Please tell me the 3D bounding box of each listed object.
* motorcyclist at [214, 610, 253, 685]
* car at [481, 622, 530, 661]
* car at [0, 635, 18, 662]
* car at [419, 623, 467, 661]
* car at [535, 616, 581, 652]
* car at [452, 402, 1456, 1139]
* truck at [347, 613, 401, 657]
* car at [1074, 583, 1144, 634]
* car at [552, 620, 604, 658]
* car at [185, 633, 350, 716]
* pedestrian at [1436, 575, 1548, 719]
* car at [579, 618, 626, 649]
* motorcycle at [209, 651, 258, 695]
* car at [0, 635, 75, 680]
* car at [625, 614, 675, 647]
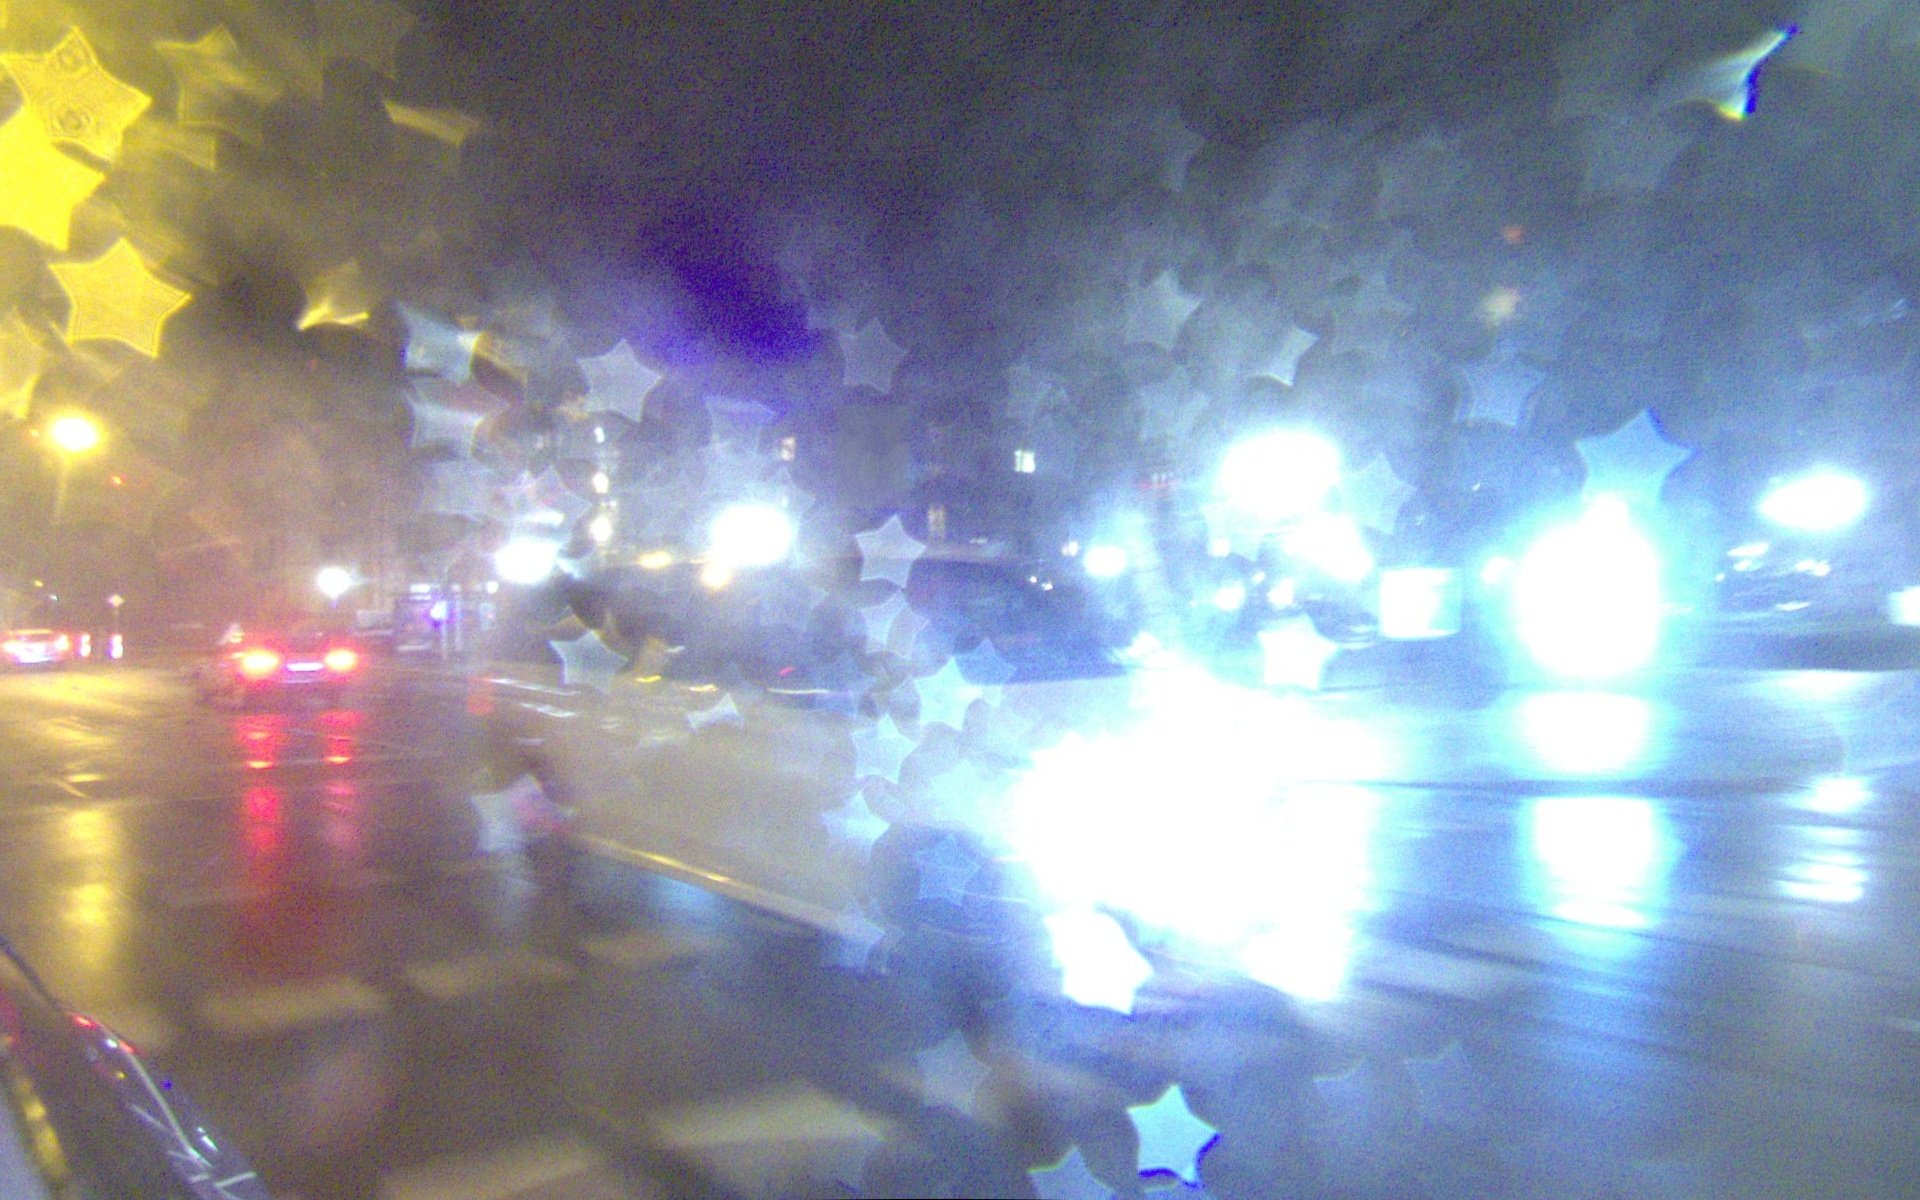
[{"bbox_3d":[-20.179,1.320,28.089,0.982,2.029,0.685,-3,-2,42],"label":"motorcyclist"},{"bbox_3d":[-19.387,1.744,43.094,1.689,1.532,3.931,-1,-1,-27],"label":"car"},{"bbox_3d":[-58.123,2.892,61.124,4.381,1.576,1.580,-2,-4,45],"label":"car"},{"bbox_3d":[-21.506,1.725,42.139,1.689,1.442,3.931,-1,-1,-27],"label":"car"},{"bbox_3d":[-21.724,1.789,54.635,1.838,1.808,4.508,-1,-1,-28],"label":"car"},{"bbox_3d":[-0.556,0.556,5.235,5.199,1.968,2.012,-3,-2,43],"label":"car"},{"bbox_3d":[-29.240,1.756,50.622,2.093,2.029,5.278,-1,-1,-28],"label":"truck"},{"bbox_3d":[8.392,0.519,57.341,1.689,2.752,4.369,-1,-1,-27],"label":"car"},{"bbox_3d":[-16.762,1.675,44.303,1.689,1.532,3.931,-1,-1,-27],"label":"car"},{"bbox_3d":[-14.120,1.470,20.558,4.104,1.523,1.629,-3,-4,39],"label":"car"},{"bbox_3d":[6.775,0.581,12.931,0.758,1.749,0.972,-1,-1,-13],"label":"pedestrian"},{"bbox_3d":[-19.891,1.830,56.211,1.838,1.625,4.508,-1,-1,-28],"label":"car"},{"bbox_3d":[-20.174,2.014,28.074,2.175,1.147,0.693,-3,-2,43],"label":"motorcycle"},{"bbox_3d":[-34.374,2.114,37.251,4.762,1.511,1.835,-3,-2,38],"label":"car"},{"bbox_3d":[-17.452,1.689,56.806,1.838,1.773,4.508,-1,-1,-28],"label":"car"}]
